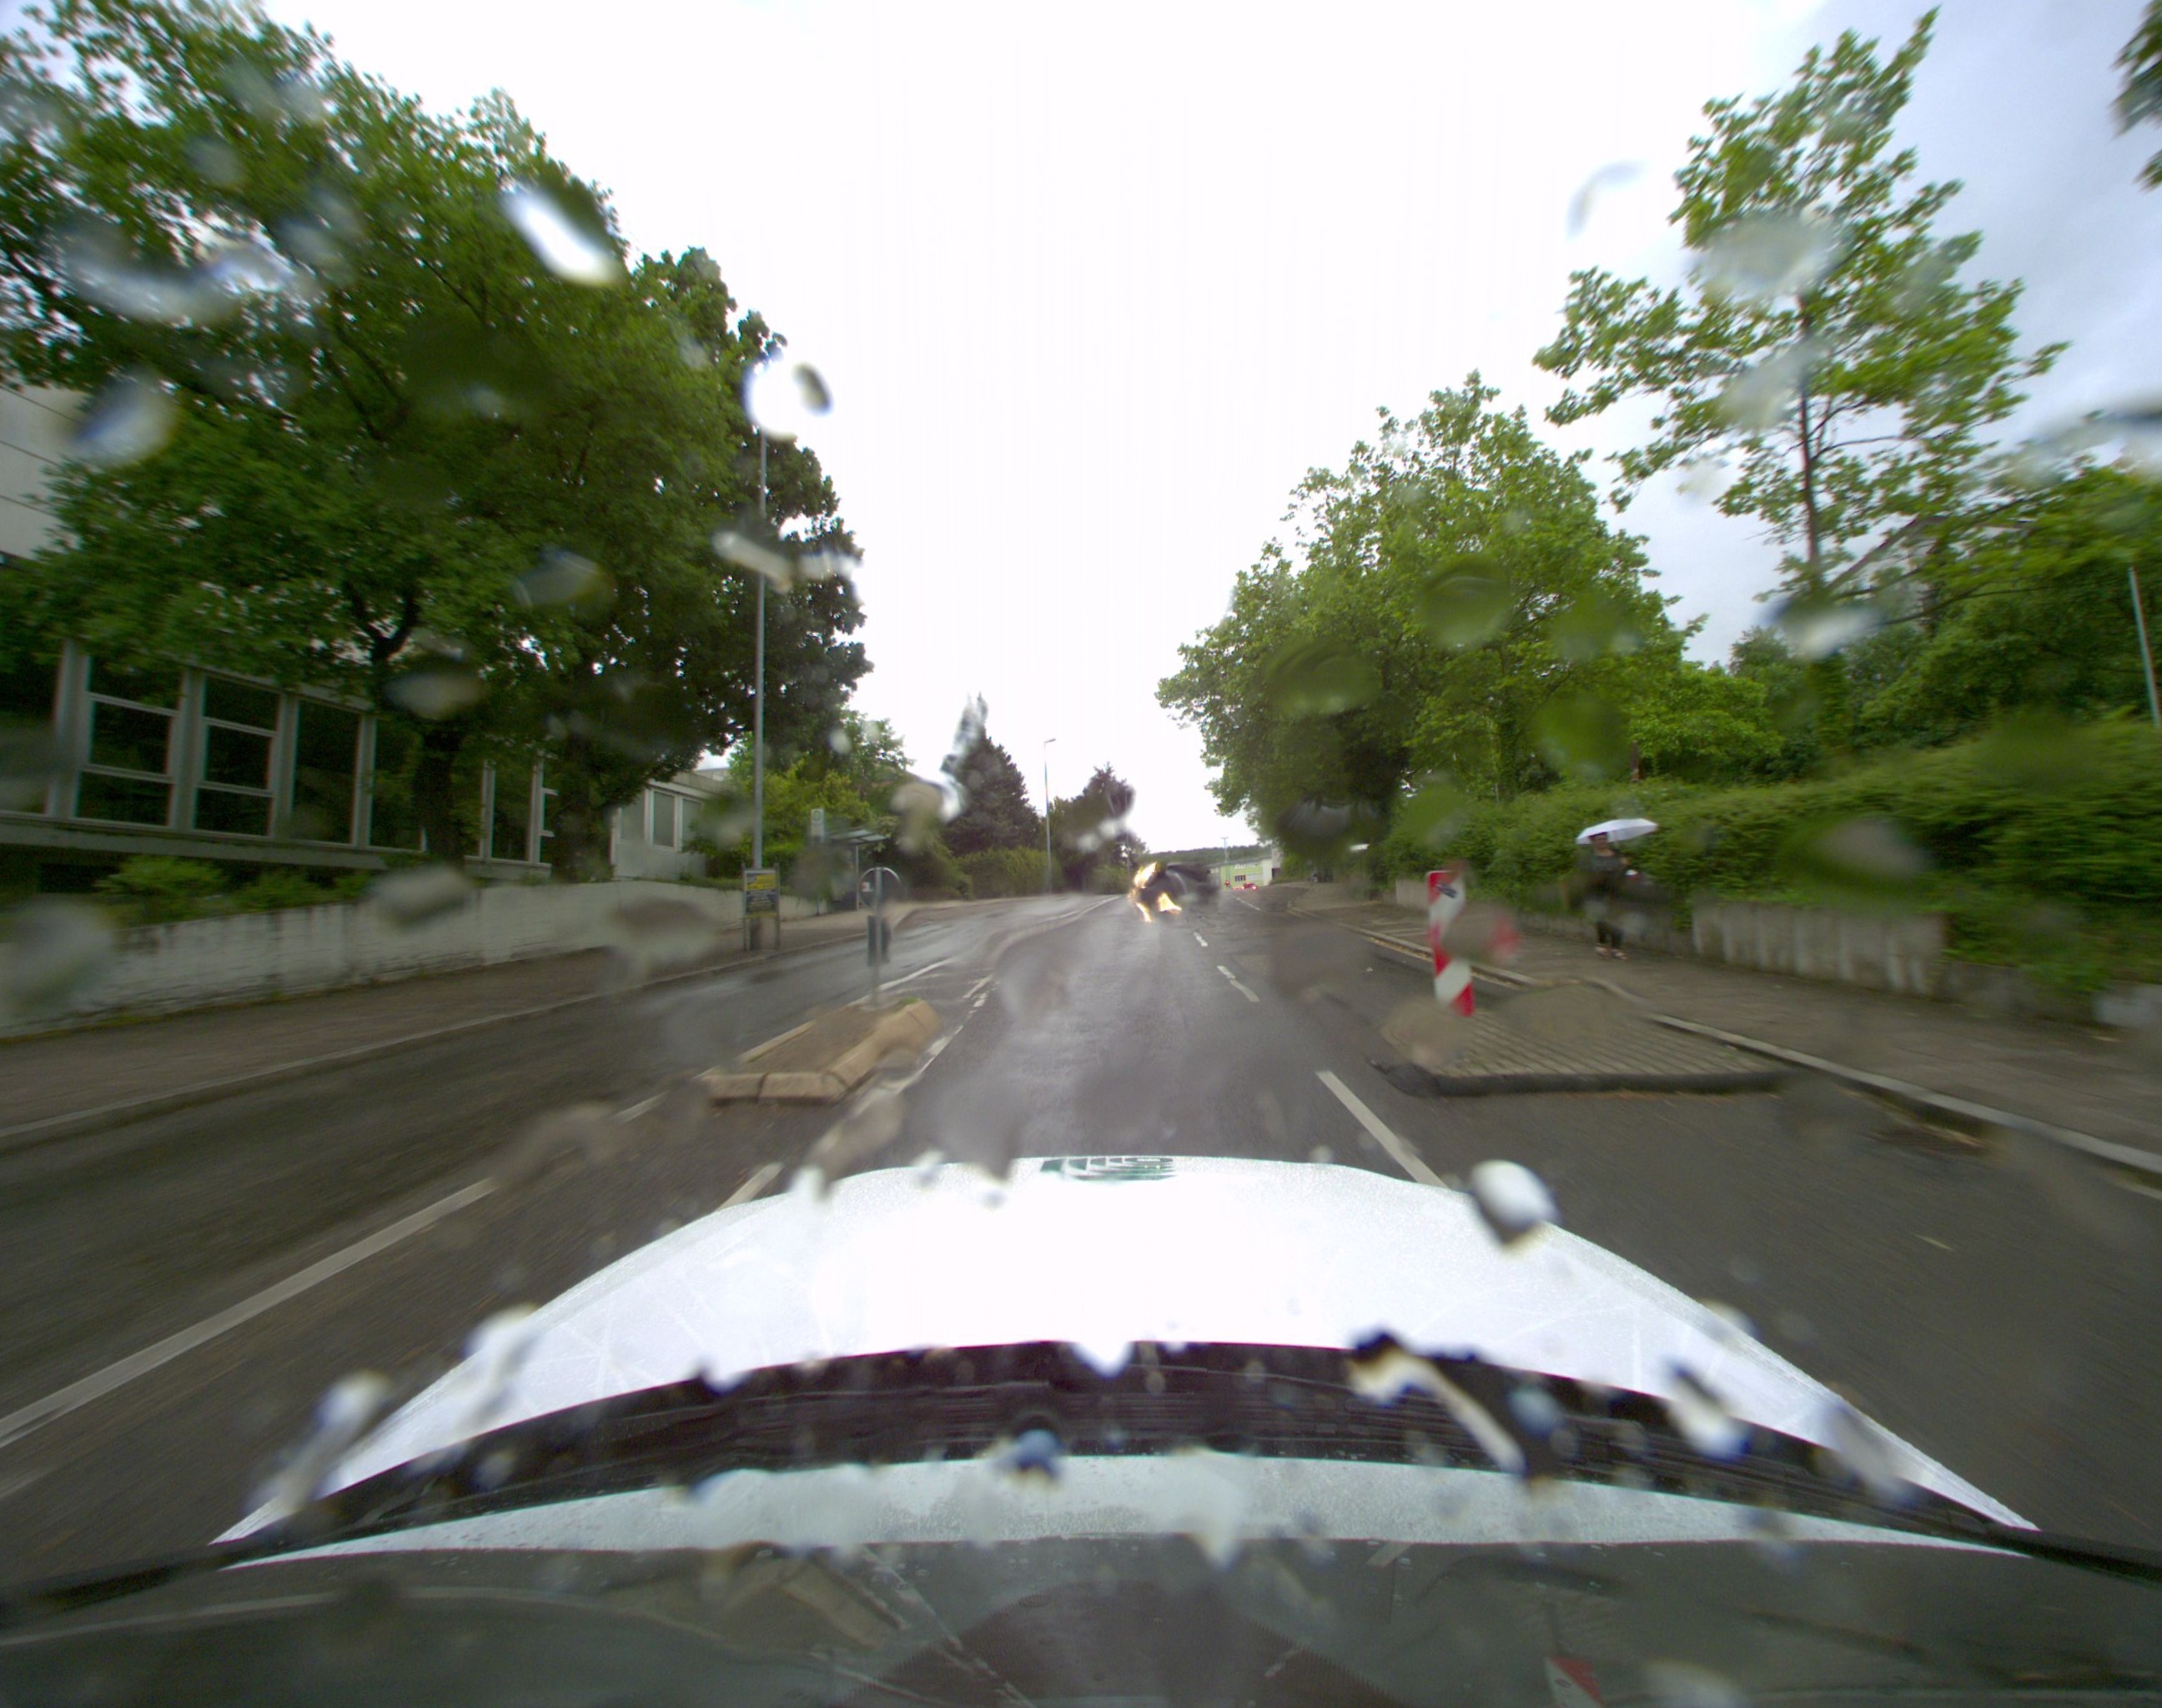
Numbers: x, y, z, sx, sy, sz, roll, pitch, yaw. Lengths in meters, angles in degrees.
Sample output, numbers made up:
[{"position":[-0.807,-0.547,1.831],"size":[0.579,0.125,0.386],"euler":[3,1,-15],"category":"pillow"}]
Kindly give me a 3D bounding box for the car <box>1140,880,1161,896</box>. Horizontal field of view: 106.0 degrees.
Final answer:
[{"position":[6.825,3.310,79.842],"size":[1.675,1.454,3.406],"euler":[-3,-2,9],"category":"car"}]

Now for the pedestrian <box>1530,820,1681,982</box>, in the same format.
[{"position":[6.543,0.579,10.251],"size":[1.048,1.894,1.132],"euler":[-2,-3,-3],"category":"pedestrian"}]

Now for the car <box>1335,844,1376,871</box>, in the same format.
[{"position":[24.548,0.338,72.920],"size":[2.037,2.284,5.018],"euler":[-1,-1,1],"category":"car"}]

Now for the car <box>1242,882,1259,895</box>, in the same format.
[{"position":[21.053,4.282,101.113],"size":[1.981,1.442,4.011],"euler":[-2,-3,11],"category":"car"}]

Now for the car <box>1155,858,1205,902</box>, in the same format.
[{"position":[3.884,0.991,32.112],"size":[1.781,1.603,4.260],"euler":[-1,-1,6],"category":"car"}]
